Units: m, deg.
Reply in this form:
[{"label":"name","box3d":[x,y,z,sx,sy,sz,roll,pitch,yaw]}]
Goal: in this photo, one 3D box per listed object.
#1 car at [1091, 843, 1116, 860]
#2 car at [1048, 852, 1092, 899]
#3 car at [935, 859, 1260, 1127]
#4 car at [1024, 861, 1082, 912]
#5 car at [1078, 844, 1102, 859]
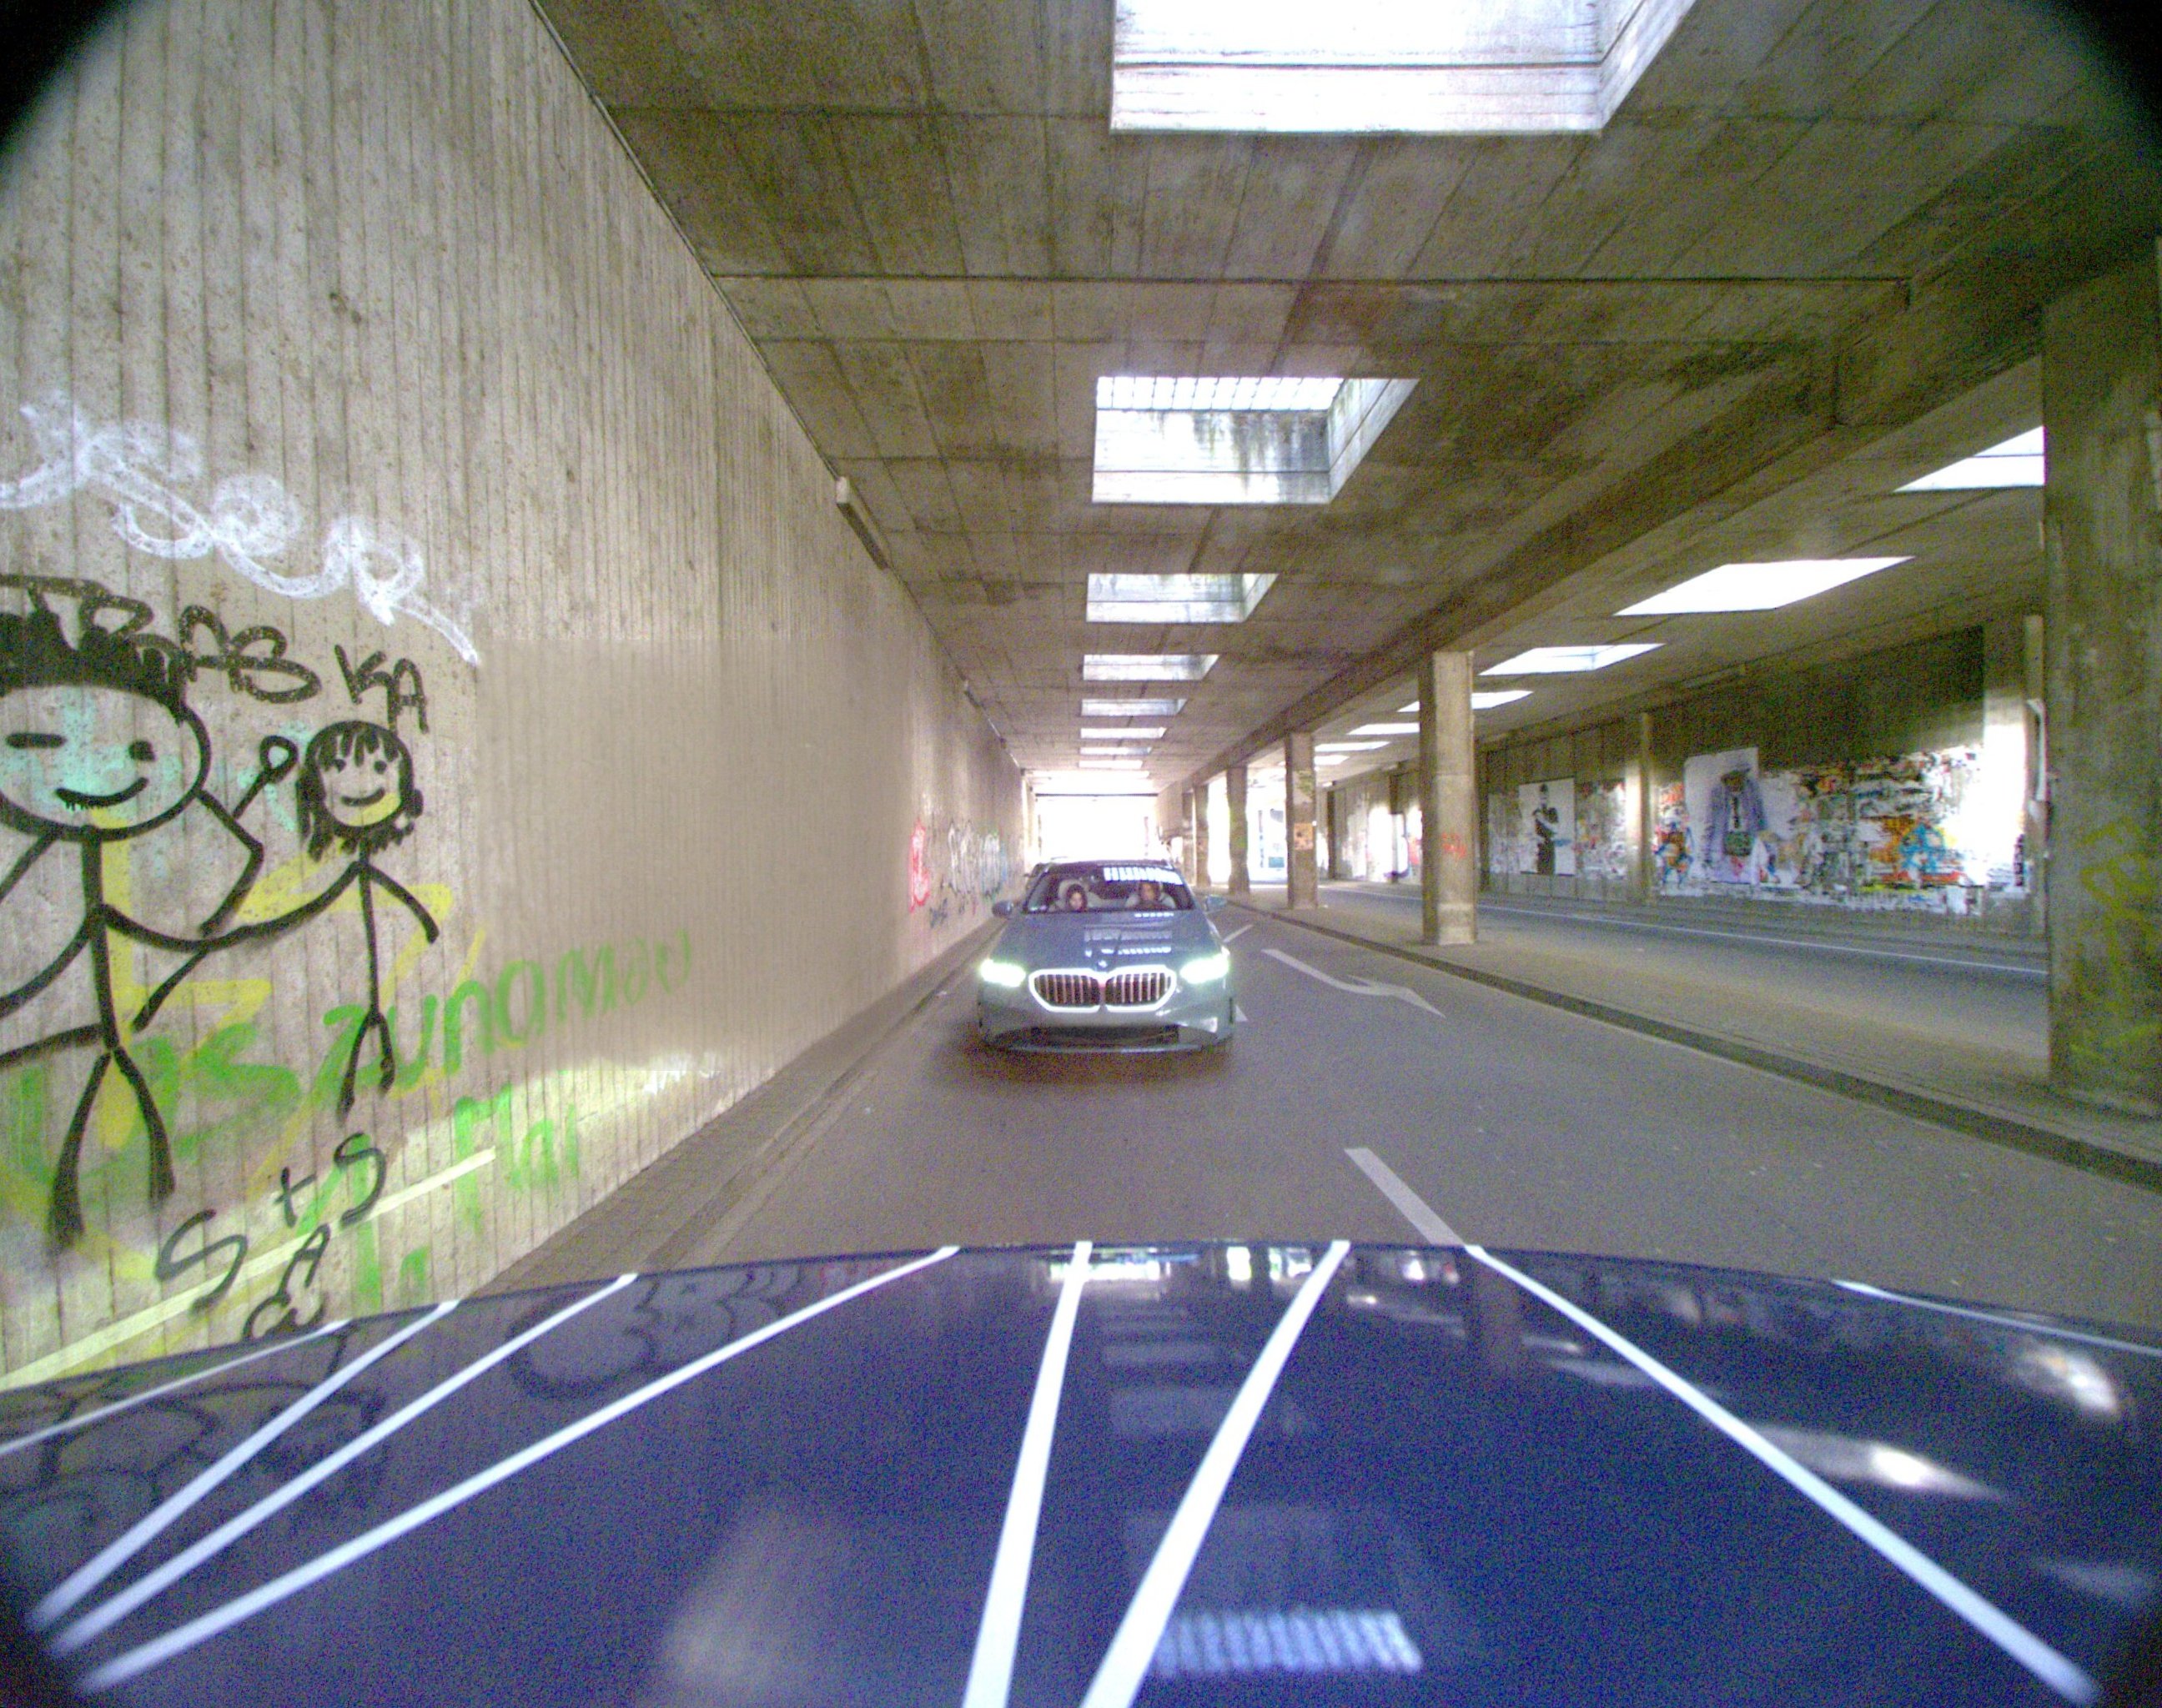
[{"label":"car","box3d":[2.843,-0.324,97.532,2.361,2.002,5.146,-1,0,-8]},{"label":"car","box3d":[-0.376,0.774,29.900,1.581,1.676,4.078,-2,0,1]},{"label":"car","box3d":[0.180,0.888,7.319,1.998,1.594,5.176,-1,0,2]},{"label":"car","box3d":[-0.798,0.955,23.893,1.593,1.387,3.833,-2,0,1]},{"label":"car","box3d":[1.188,-0.330,103.544,2.361,2.002,5.146,-1,0,-8]}]
